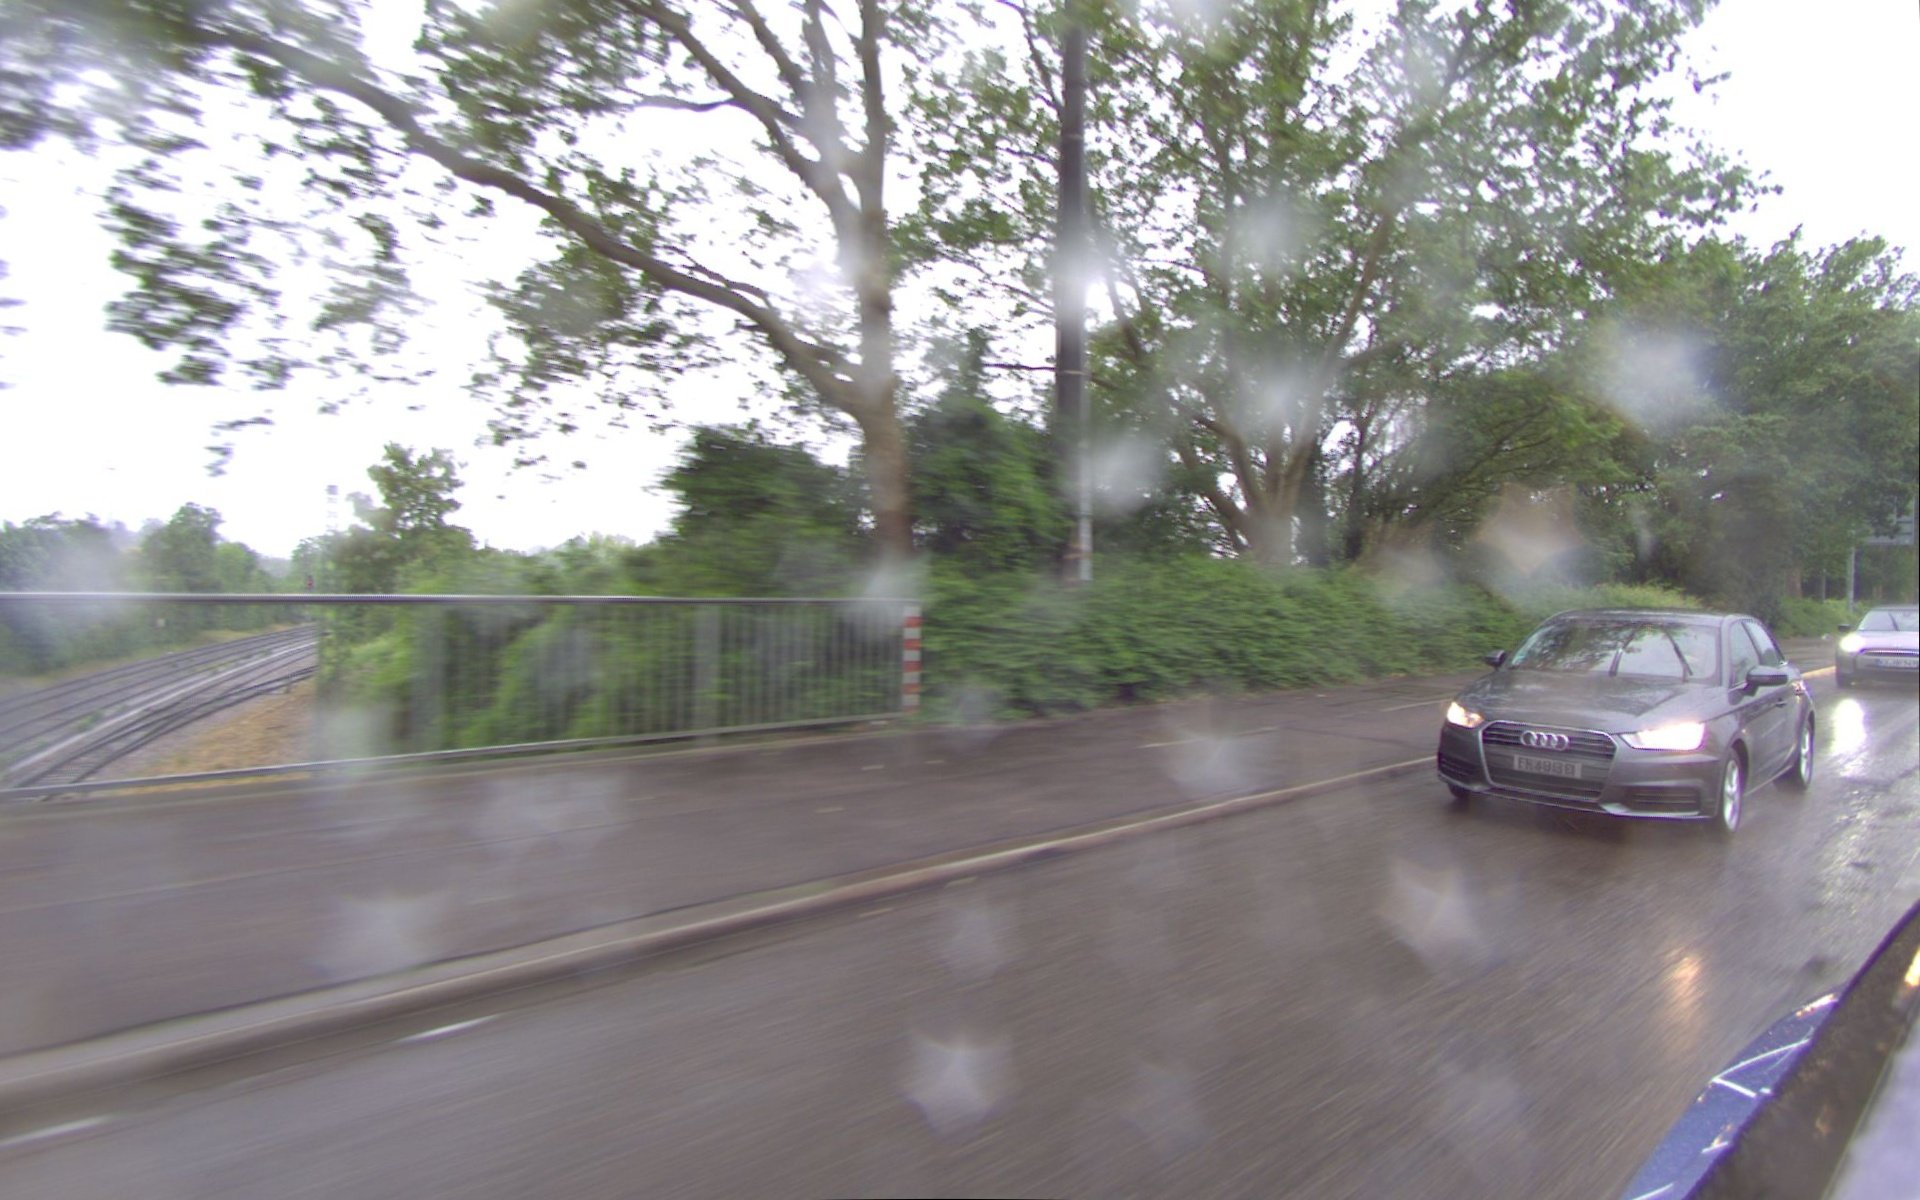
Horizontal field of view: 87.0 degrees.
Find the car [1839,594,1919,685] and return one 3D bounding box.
[{"bbox_3d":[16.872,0.638,17.747,3.789,1.431,1.793,-1,1,-42],"label":"car"}]

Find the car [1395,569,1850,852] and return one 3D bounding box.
[{"bbox_3d":[5.113,0.627,7.605,3.922,1.548,1.970,1,-1,-42],"label":"car"}]
